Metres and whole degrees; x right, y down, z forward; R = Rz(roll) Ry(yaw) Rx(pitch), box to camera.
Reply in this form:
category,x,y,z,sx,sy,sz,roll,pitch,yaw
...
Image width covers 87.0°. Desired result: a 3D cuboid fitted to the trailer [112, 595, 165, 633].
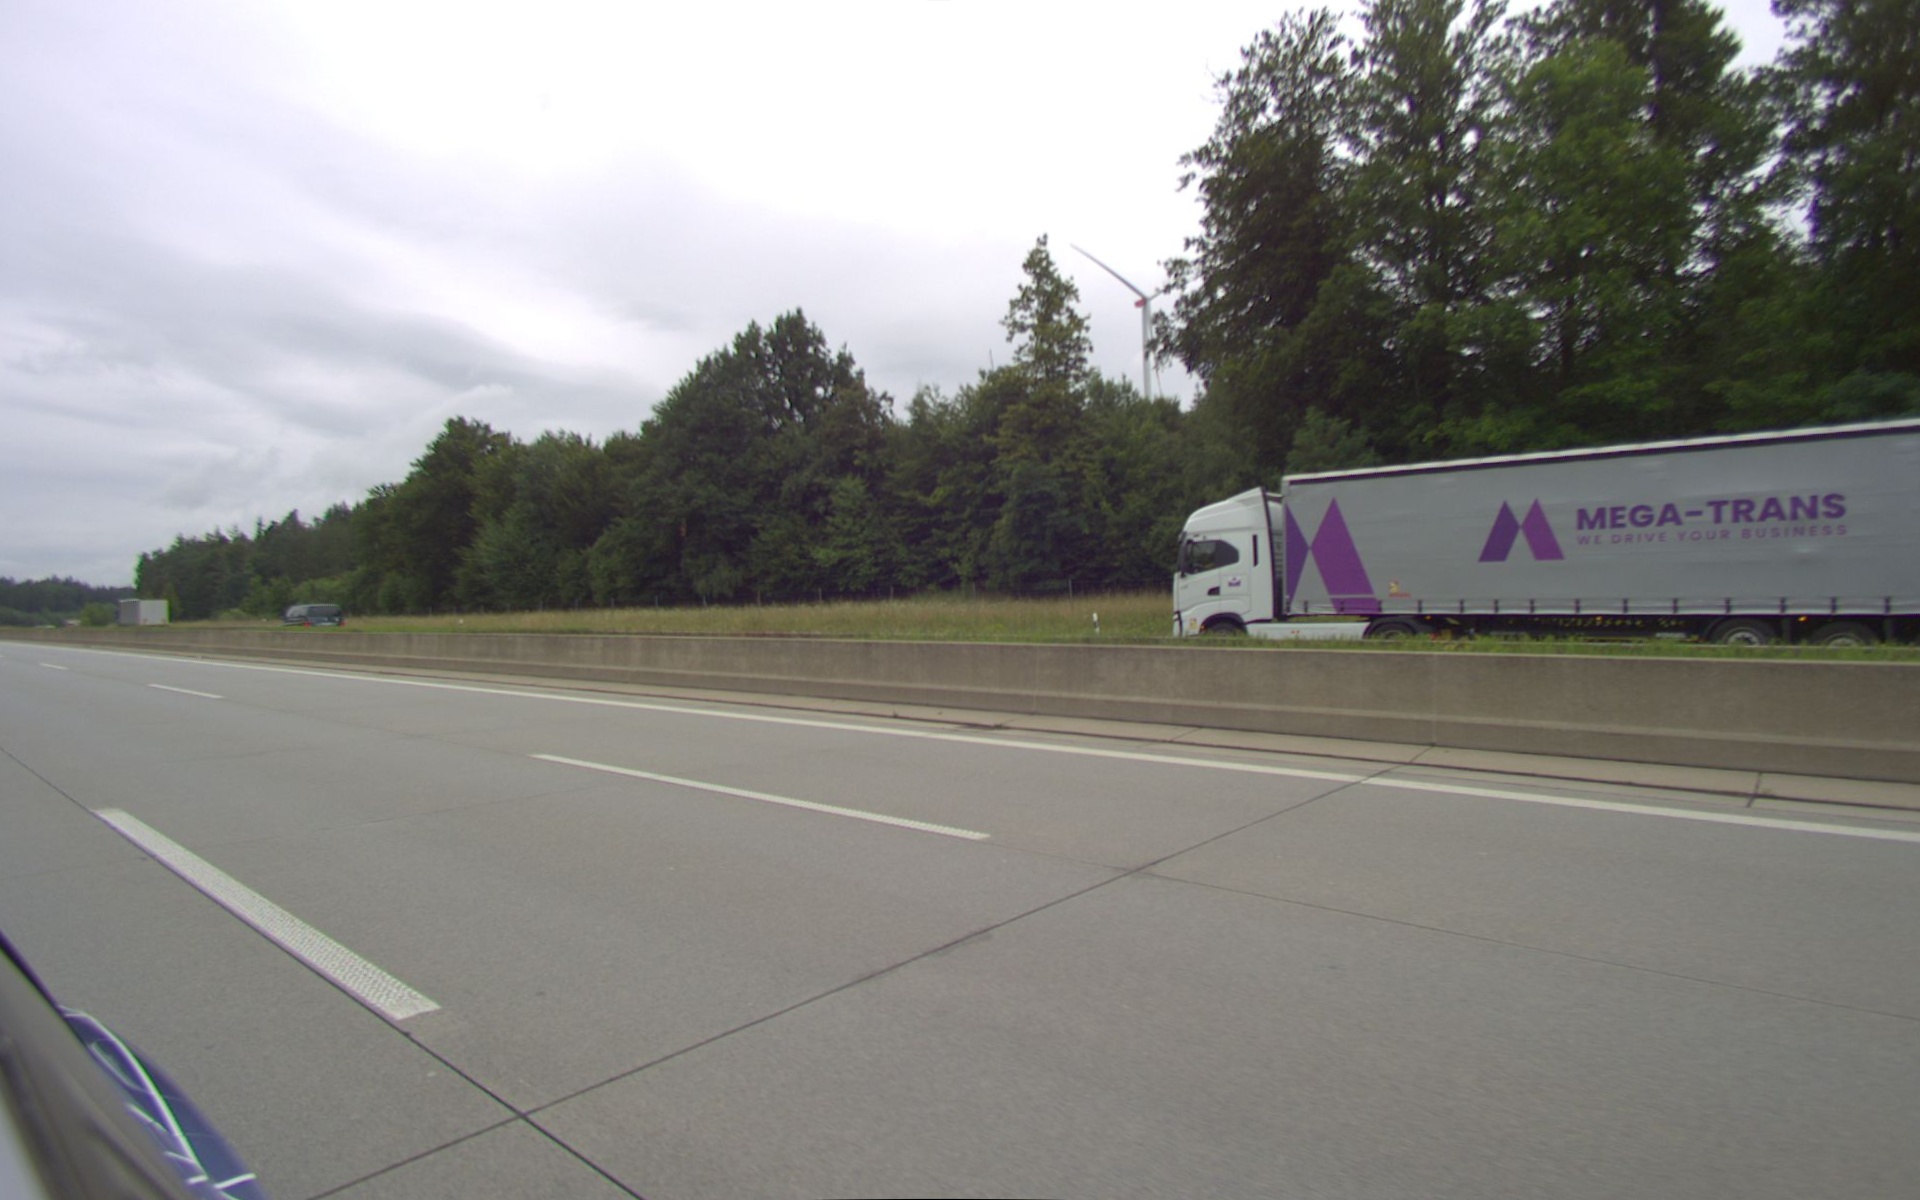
category,x,y,z,sx,sy,sz,roll,pitch,yaw
trailer,-93.999,1.622,115.700,13.987,4.050,2.780,-2,-1,43

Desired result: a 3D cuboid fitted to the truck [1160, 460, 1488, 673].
category,x,y,z,sx,sy,sz,roll,pitch,yaw
truck,8.016,-0.617,22.840,6.458,4.157,2.482,-1,0,41

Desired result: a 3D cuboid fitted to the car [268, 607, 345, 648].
category,x,y,z,sx,sy,sz,roll,pitch,yaw
car,-34.654,1.433,53.624,5.425,2.029,2.040,-1,0,42

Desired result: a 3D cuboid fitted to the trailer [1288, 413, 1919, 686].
category,x,y,z,sx,sy,sz,roll,pitch,yaw
trailer,13.183,-0.726,18.245,13.969,4.134,2.472,-1,0,42
